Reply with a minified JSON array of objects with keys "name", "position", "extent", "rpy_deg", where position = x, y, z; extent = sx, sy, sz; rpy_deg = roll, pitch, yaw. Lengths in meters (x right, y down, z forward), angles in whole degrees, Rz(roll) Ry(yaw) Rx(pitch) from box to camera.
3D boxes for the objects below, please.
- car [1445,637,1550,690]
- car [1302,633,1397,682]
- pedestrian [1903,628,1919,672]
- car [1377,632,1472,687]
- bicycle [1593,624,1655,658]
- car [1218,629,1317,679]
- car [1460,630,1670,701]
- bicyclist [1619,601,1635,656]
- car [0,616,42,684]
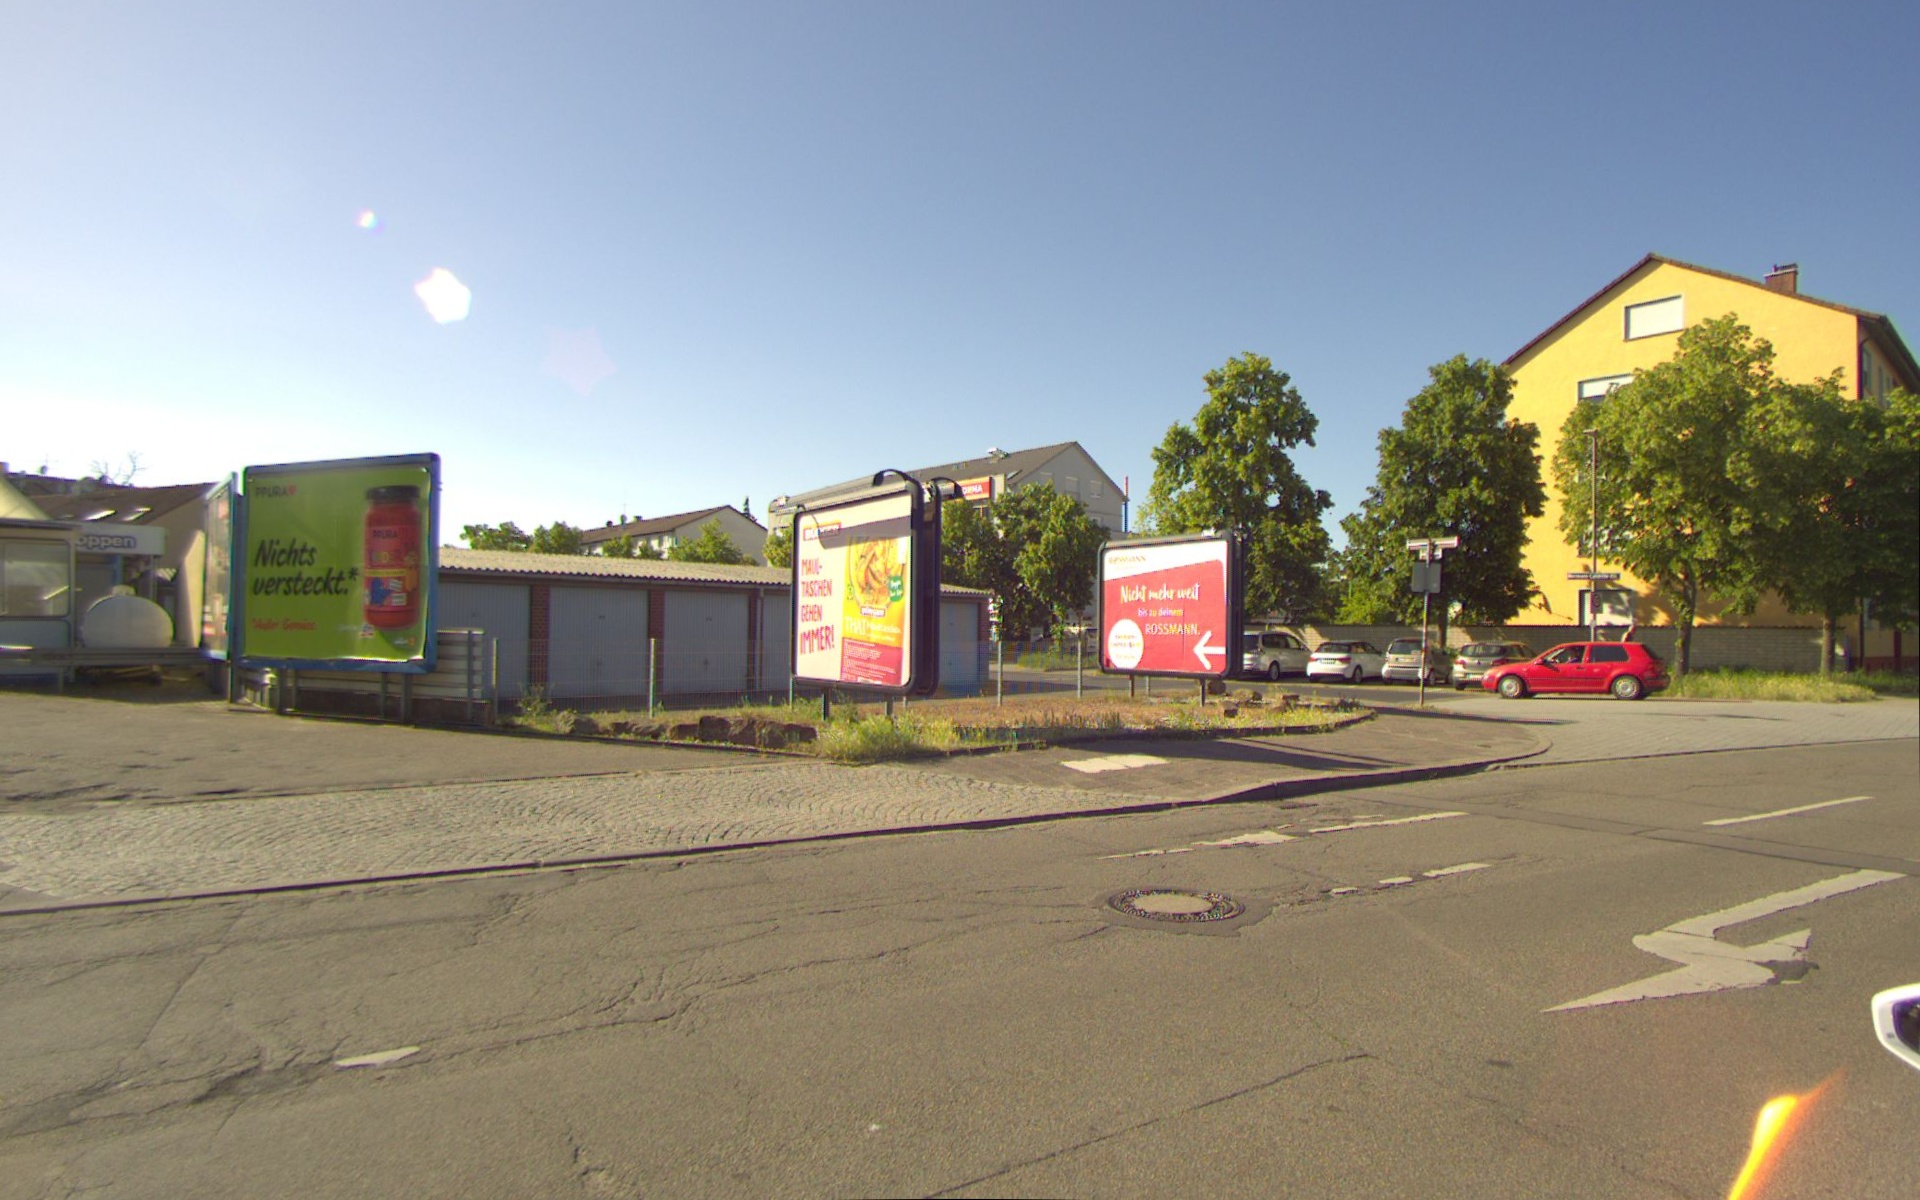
[{"name":"car","position":[16.484,1.889,30.740],"extent":[3.854,1.483,1.713],"rpy_deg":[1,-2,-43]},{"name":"car","position":[13.462,1.936,34.641],"extent":[1.680,1.483,3.857],"rpy_deg":[-2,0,44]},{"name":"pedestrian","position":[38.572,2.005,40.432],"extent":[0.712,1.740,0.682],"rpy_deg":[4,-4,-30]},{"name":"car","position":[15.500,1.926,33.434],"extent":[1.680,1.643,3.857],"rpy_deg":[-2,-2,44]},{"name":"bicycle","position":[20.878,1.285,31.622],"extent":[1.593,1.024,0.406],"rpy_deg":[-1,-2,29]},{"name":"car","position":[11.147,1.914,36.353],"extent":[3.852,1.701,1.683],"rpy_deg":[1,-2,-42]},{"name":"car","position":[15.412,1.597,25.698],"extent":[4.329,1.589,2.008],"rpy_deg":[0,-1,41]},{"name":"bicyclist","position":[20.970,0.909,31.587],"extent":[0.382,1.707,0.382],"rpy_deg":[0,-4,29]},{"name":"car","position":[-24.911,1.147,24.243],"extent":[3.974,1.627,1.975],"rpy_deg":[5,-5,-44]}]
